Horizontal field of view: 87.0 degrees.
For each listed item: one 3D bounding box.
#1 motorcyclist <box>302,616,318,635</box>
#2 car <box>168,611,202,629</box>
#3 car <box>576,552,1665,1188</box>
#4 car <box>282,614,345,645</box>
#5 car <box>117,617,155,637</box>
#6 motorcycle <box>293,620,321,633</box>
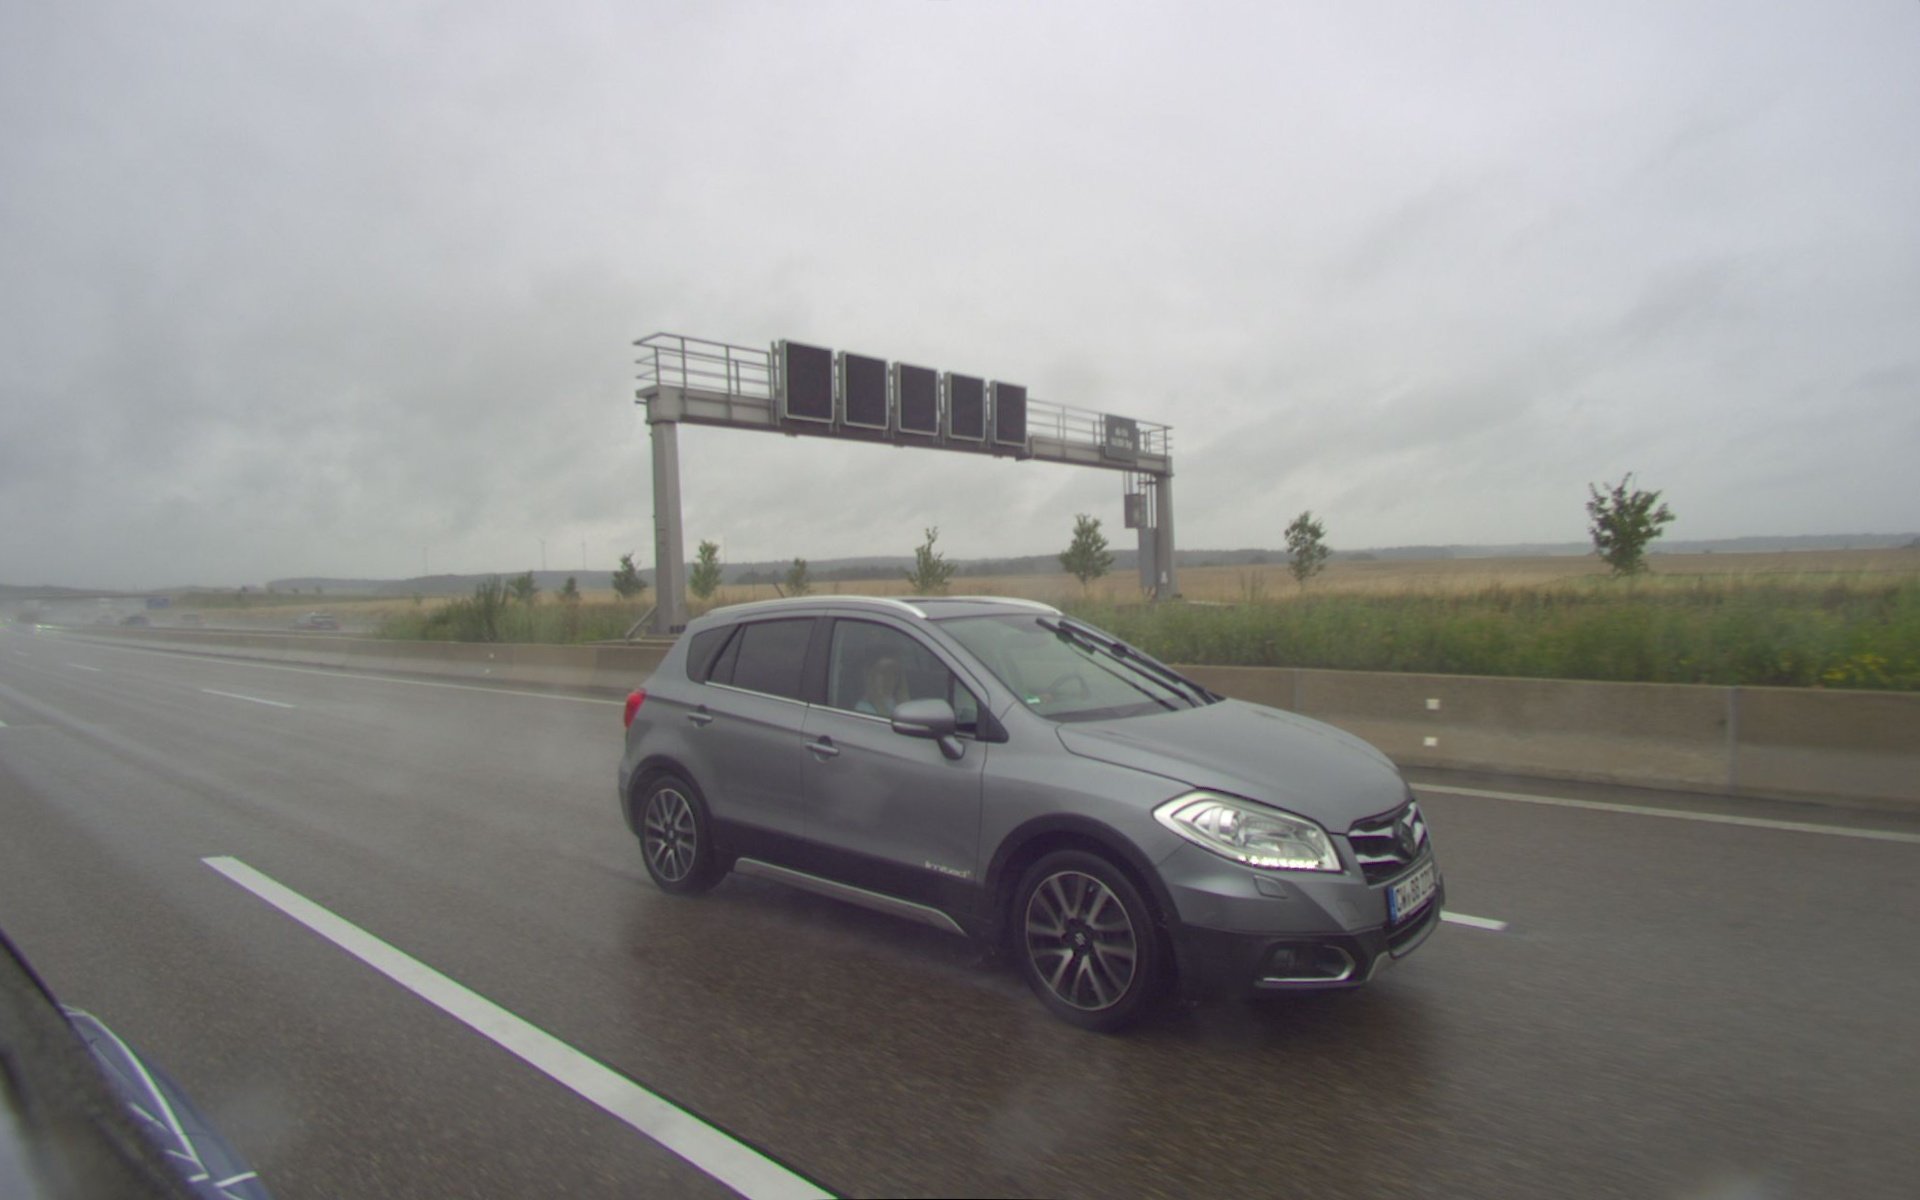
[{"bbox_3d":[-47.914,1.876,74.596,0.940,1.318,0.741,-1,0,42],"label":"motorcyclist"},{"bbox_3d":[-66.189,1.728,86.383,4.000,1.497,1.676,-1,0,43],"label":"car"},{"bbox_3d":[0.268,0.670,4.697,4.754,1.524,1.827,-1,0,41],"label":"car"},{"bbox_3d":[-37.880,1.710,59.233,4.442,1.696,1.973,-1,0,42],"label":"car"},{"bbox_3d":[-68.520,2.270,84.129,4.085,1.586,1.800,-1,0,42],"label":"car"},{"bbox_3d":[-48.491,1.977,75.111,3.545,0.920,0.908,-1,0,43],"label":"motorcycle"}]
